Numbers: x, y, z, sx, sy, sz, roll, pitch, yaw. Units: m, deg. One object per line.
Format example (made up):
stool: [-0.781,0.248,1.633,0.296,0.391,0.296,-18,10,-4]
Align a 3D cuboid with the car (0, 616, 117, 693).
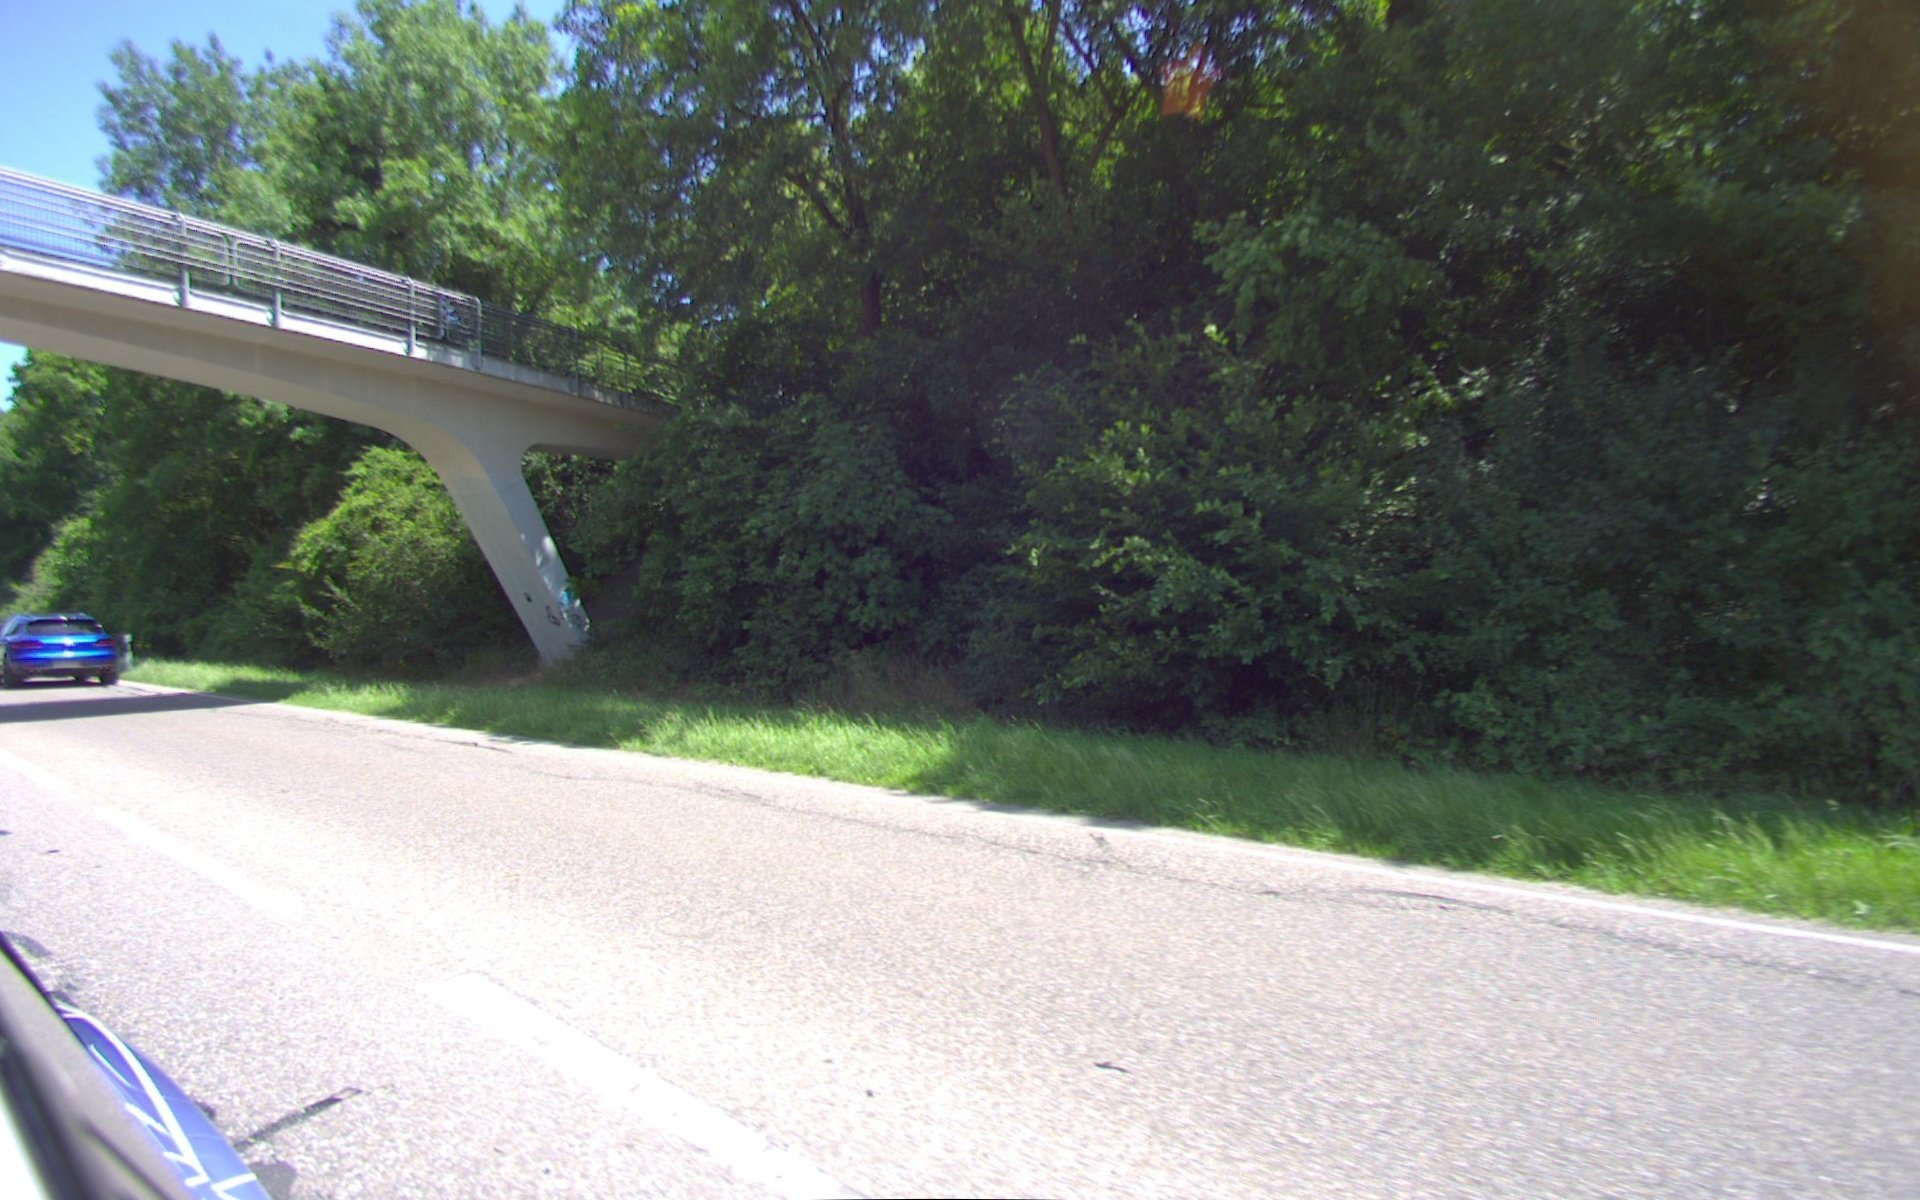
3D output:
car: [-20.927,1.184,23.128,4.415,1.602,1.805,-1,-2,40]
